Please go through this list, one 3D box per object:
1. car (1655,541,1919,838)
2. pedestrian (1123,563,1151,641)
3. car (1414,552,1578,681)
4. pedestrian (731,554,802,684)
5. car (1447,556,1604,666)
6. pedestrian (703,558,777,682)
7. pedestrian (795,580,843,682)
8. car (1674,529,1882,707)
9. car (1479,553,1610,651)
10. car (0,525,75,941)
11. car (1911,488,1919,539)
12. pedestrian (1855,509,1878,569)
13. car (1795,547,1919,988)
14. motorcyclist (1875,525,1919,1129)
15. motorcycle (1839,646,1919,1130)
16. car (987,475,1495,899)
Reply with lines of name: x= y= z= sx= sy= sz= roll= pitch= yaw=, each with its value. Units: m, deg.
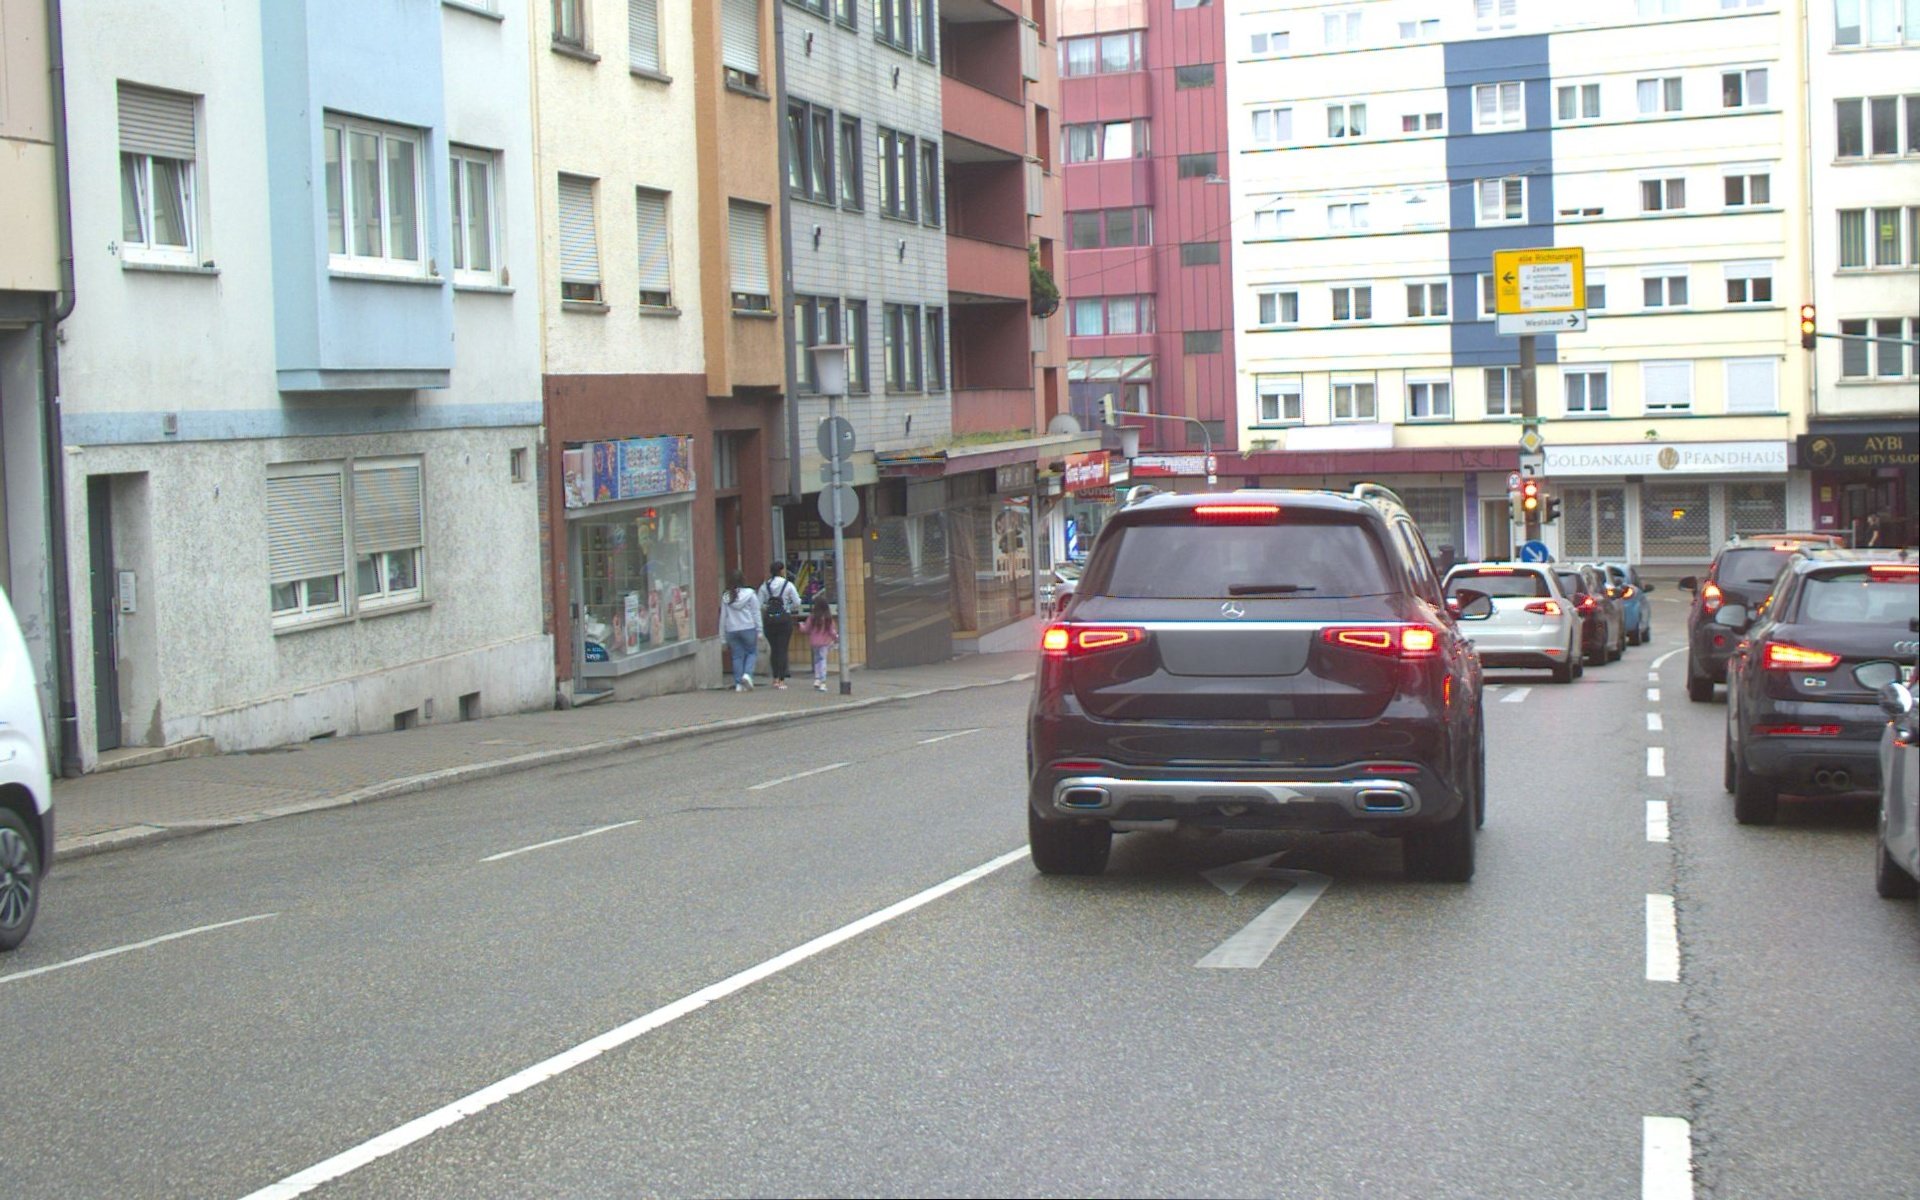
car: x=5.315 y=0.468 z=20.405 sx=1.823 sy=1.554 sz=4.201 roll=2 pitch=1 yaw=5
pedestrian: x=3.872 y=0.041 z=75.199 sx=0.554 sy=1.691 sz=0.623 roll=-1 pitch=1 yaw=9
car: x=6.678 y=0.155 z=42.515 sx=1.874 sy=1.489 sz=4.398 roll=1 pitch=1 yaw=10
pedestrian: x=-2.569 y=0.243 z=45.632 sx=0.827 sy=1.684 sz=0.723 roll=1 pitch=1 yaw=3
car: x=8.156 y=0.127 z=49.344 sx=1.994 sy=1.481 sz=4.234 roll=-1 pitch=0 yaw=12
pedestrian: x=-2.832 y=0.253 z=44.325 sx=0.827 sy=1.555 sz=0.723 roll=1 pitch=1 yaw=3
pedestrian: x=-1.873 y=0.402 z=45.594 sx=0.533 sy=1.318 sz=0.723 roll=1 pitch=1 yaw=3
car: x=8.620 y=0.142 z=36.535 sx=1.898 sy=1.689 sz=4.503 roll=3 pitch=1 yaw=11
car: x=9.797 y=0.062 z=57.375 sx=1.926 sy=1.510 sz=4.660 roll=2 pitch=0 yaw=12
car: x=-5.340 y=0.617 z=13.646 sx=1.862 sy=1.797 sz=4.264 roll=-2 pitch=0 yaw=10
car: x=32.807 y=-2.879 z=114.474 sx=1.799 sy=1.664 sz=3.996 roll=-1 pitch=1 yaw=21
pedestrian: x=27.019 y=-1.818 z=102.469 sx=0.564 sy=1.683 sz=0.755 roll=-1 pitch=7 yaw=18
car: x=4.551 y=0.593 z=13.915 sx=1.827 sy=1.536 sz=4.251 roll=3 pitch=1 yaw=8
motorcyclist: x=2.996 y=0.603 z=9.253 sx=0.845 sy=1.584 sz=0.962 roll=2 pitch=1 yaw=7
motorcycle: x=2.988 y=0.782 z=9.276 sx=0.845 sy=1.221 sz=2.372 roll=2 pitch=1 yaw=7
car: x=1.549 y=0.329 z=17.061 sx=2.039 sy=1.793 sz=4.661 roll=1 pitch=1 yaw=10
